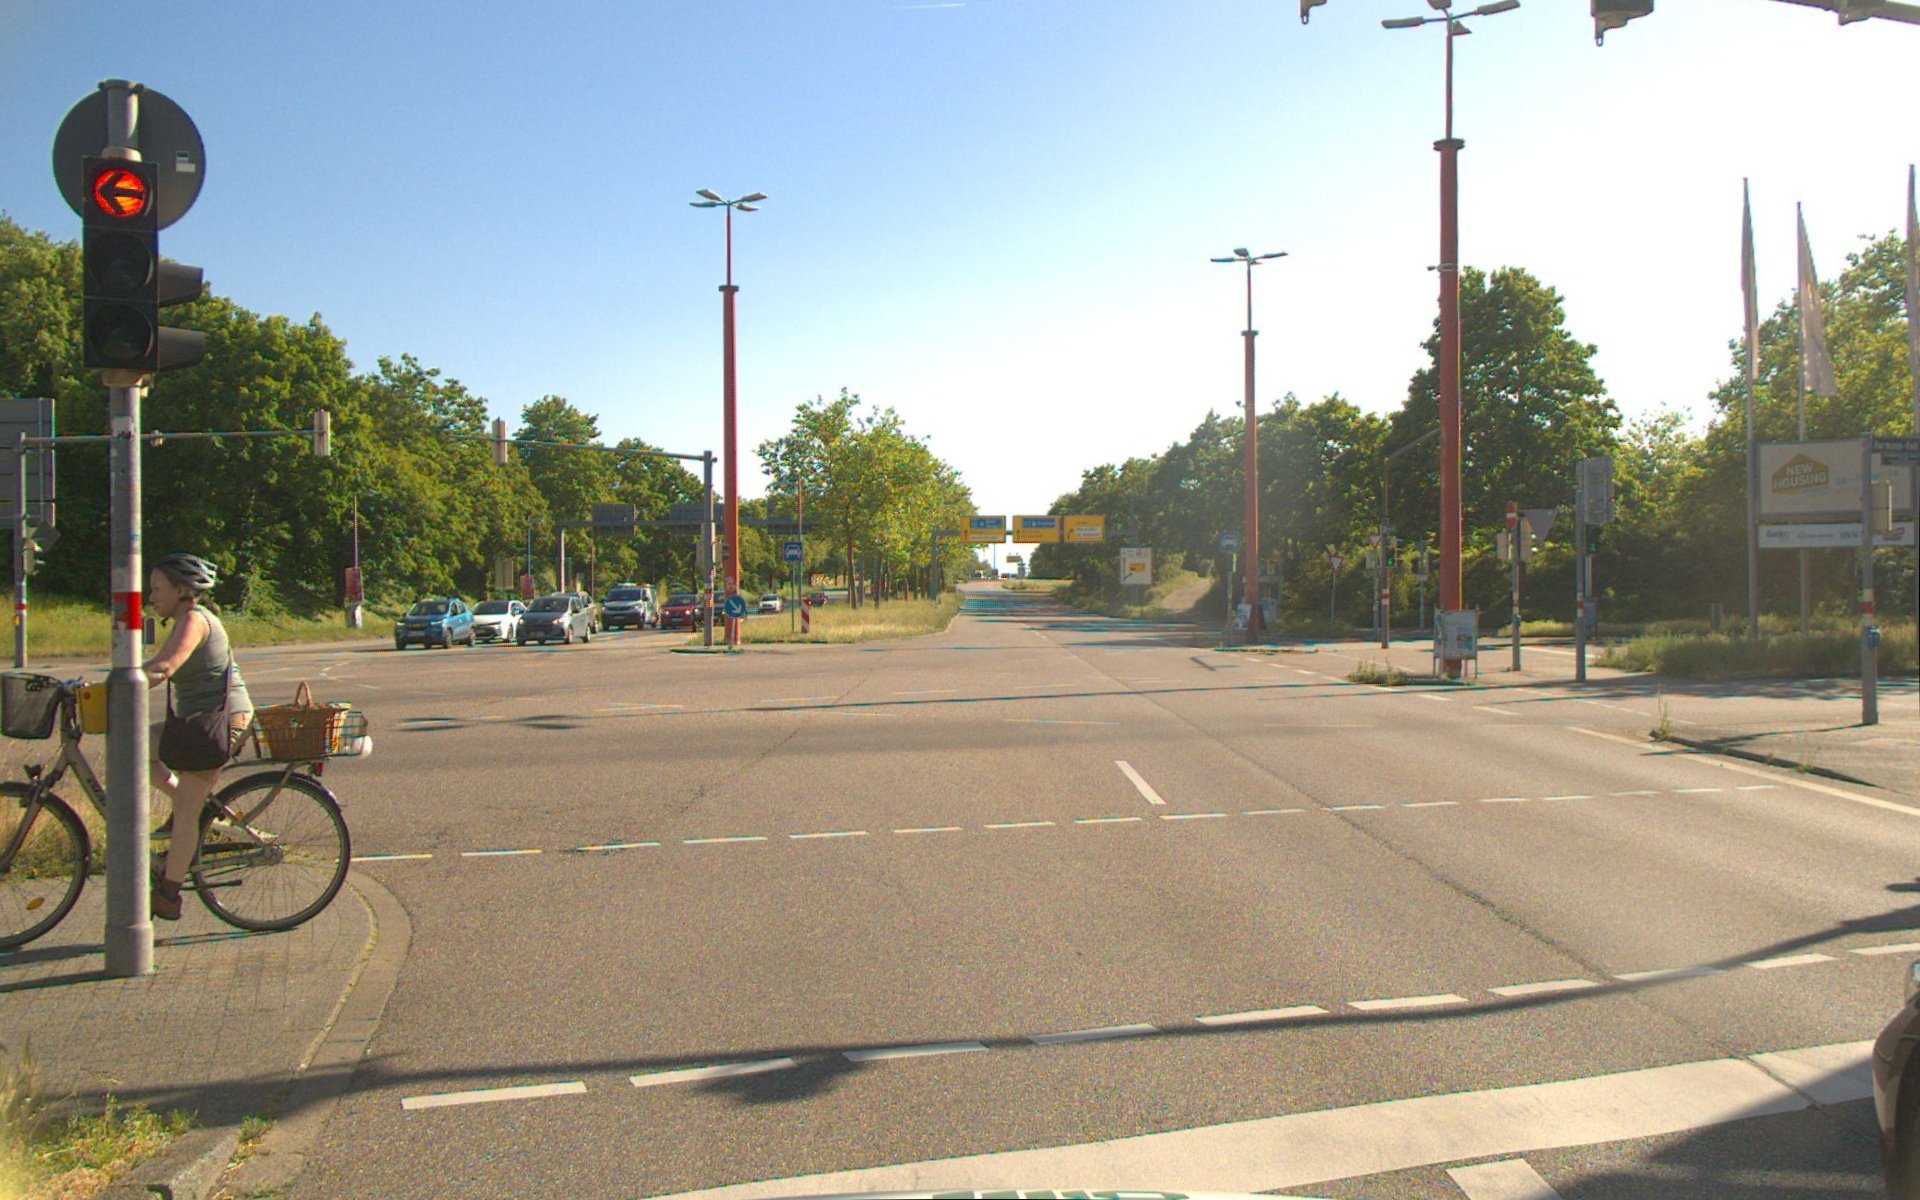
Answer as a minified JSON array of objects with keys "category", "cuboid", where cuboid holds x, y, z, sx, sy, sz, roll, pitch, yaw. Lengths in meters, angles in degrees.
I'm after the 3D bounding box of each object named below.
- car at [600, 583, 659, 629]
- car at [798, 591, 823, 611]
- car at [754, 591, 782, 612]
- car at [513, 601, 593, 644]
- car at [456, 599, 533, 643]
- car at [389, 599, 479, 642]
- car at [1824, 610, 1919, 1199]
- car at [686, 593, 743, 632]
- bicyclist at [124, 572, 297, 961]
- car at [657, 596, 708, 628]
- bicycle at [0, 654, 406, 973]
[{"category":"car","cuboid":[-15.383,0.269,77.291,1.855,2.061,5.221,0,0,-2]},{"category":"car","cuboid":[-12.797,0.068,141.812,1.782,1.657,3.999,0,0,-1]},{"category":"car","cuboid":[-15.156,0.117,130.741,1.761,1.668,3.999,0,0,-1]},{"category":"car","cuboid":[-12.678,0.669,51.693,1.704,1.265,3.611,0,0,-2]},{"category":"car","cuboid":[-15.936,0.700,56.788,1.704,1.436,3.611,0,0,-2]},{"category":"car","cuboid":[-16.059,0.611,50.671,1.704,1.265,3.611,0,0,-2]},{"category":"car","cuboid":[2.898,0.736,1.588,1.831,1.422,4.443,0,0,0]},{"category":"car","cuboid":[-9.948,0.493,67.327,1.782,1.534,3.999,0,0,-1]},{"category":"bicyclist","cuboid":[-3.312,0.686,7.293,0.653,1.612,0.666,0,0,-28]},{"category":"car","cuboid":[-12.224,0.505,72.981,1.704,1.386,3.611,0,0,-2]},{"category":"bicycle","cuboid":[-3.468,0.876,7.202,1.920,1.216,0.686,0,0,-29]}]
